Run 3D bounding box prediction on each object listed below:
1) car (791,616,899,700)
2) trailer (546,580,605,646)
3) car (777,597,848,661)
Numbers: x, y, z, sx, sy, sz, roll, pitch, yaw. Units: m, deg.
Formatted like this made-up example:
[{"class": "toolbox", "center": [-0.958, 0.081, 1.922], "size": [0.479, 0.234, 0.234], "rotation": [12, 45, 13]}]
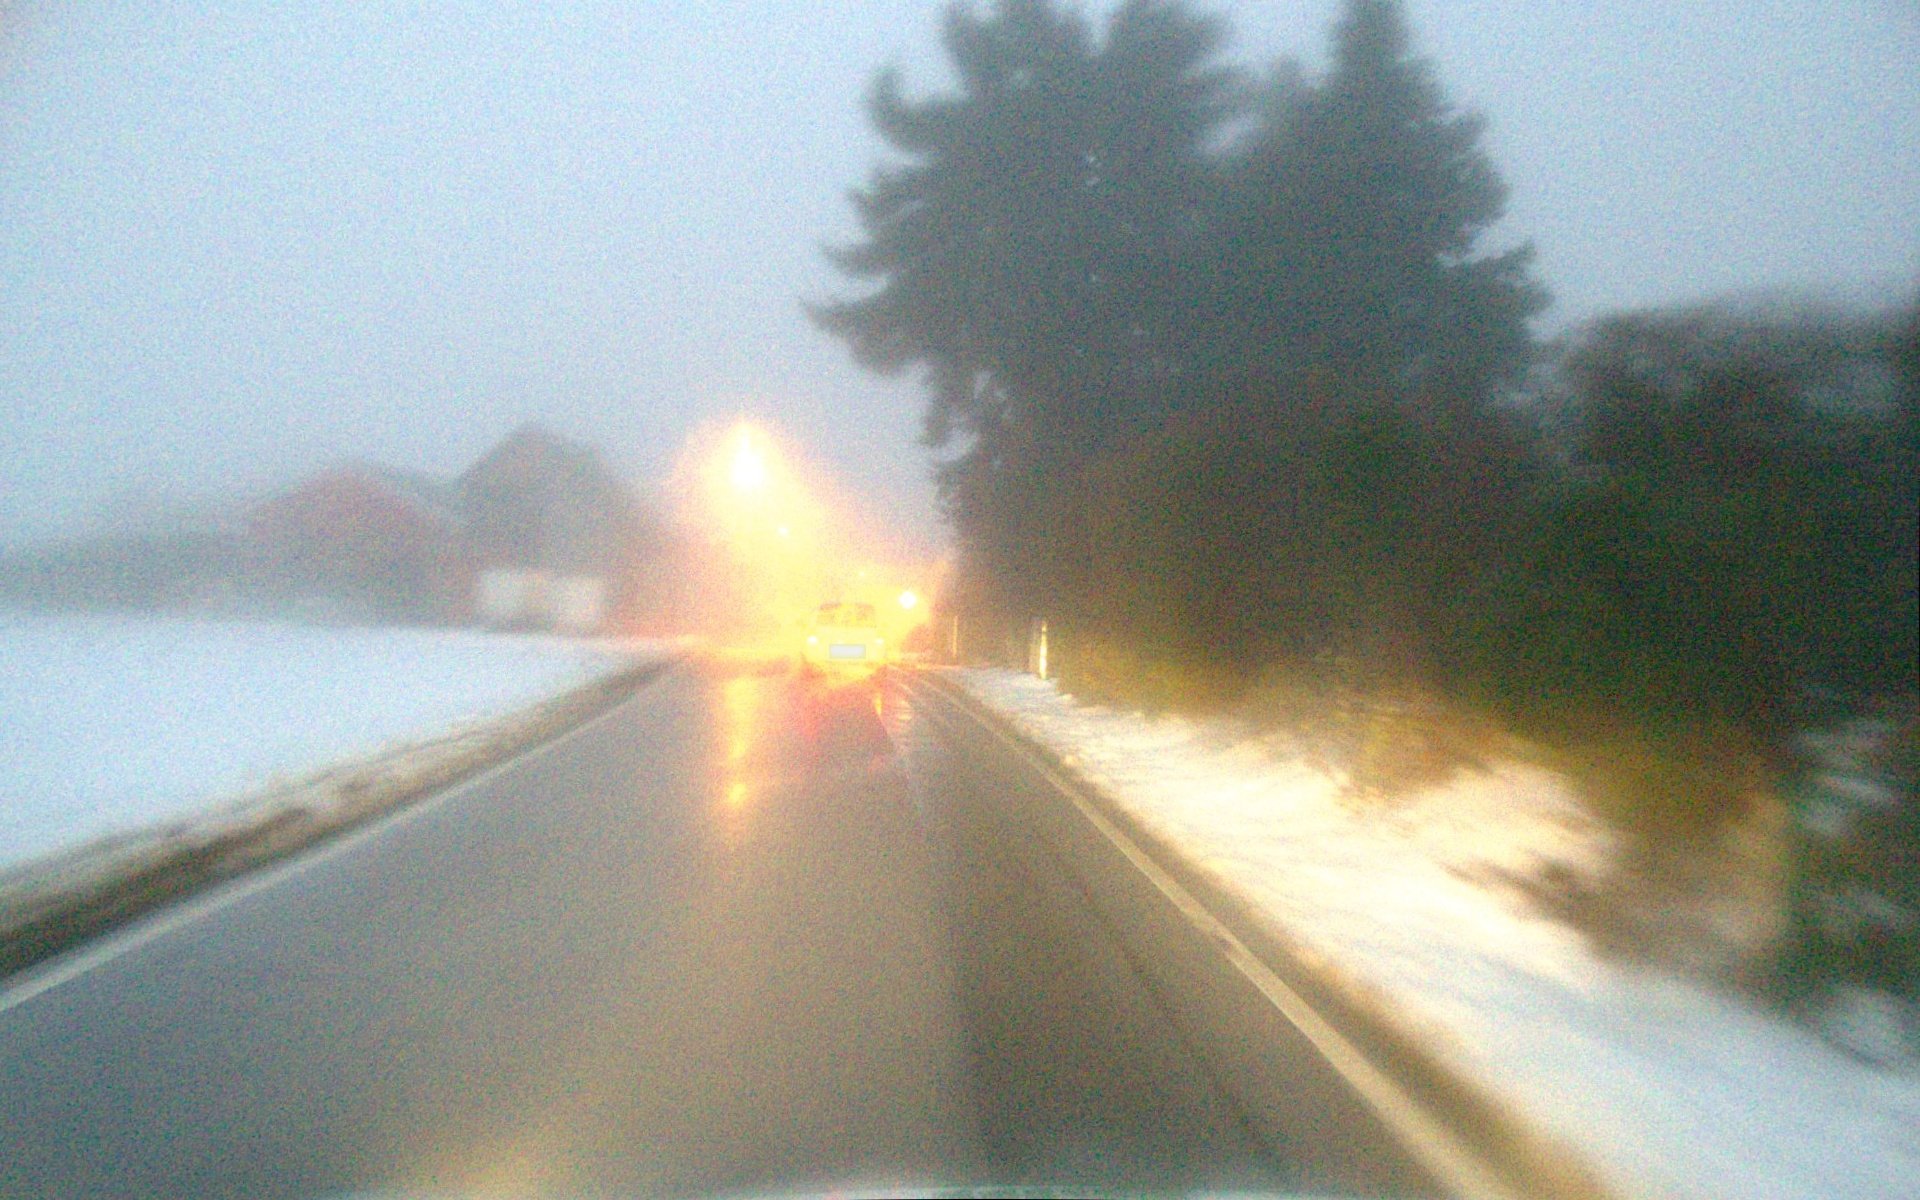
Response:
[{"class": "car", "center": [-2.176, 1.085, 32.286], "size": [1.953, 1.534, 3.998], "rotation": [1, -1, -2]}, {"class": "trailer", "center": [-15.841, 0.536, 68.005], "size": [1.668, 2.651, 3.417], "rotation": [1, -1, -25]}, {"class": "car", "center": [-4.342, 0.847, 48.756], "size": [1.955, 1.780, 3.995], "rotation": [1, -1, -5]}]
